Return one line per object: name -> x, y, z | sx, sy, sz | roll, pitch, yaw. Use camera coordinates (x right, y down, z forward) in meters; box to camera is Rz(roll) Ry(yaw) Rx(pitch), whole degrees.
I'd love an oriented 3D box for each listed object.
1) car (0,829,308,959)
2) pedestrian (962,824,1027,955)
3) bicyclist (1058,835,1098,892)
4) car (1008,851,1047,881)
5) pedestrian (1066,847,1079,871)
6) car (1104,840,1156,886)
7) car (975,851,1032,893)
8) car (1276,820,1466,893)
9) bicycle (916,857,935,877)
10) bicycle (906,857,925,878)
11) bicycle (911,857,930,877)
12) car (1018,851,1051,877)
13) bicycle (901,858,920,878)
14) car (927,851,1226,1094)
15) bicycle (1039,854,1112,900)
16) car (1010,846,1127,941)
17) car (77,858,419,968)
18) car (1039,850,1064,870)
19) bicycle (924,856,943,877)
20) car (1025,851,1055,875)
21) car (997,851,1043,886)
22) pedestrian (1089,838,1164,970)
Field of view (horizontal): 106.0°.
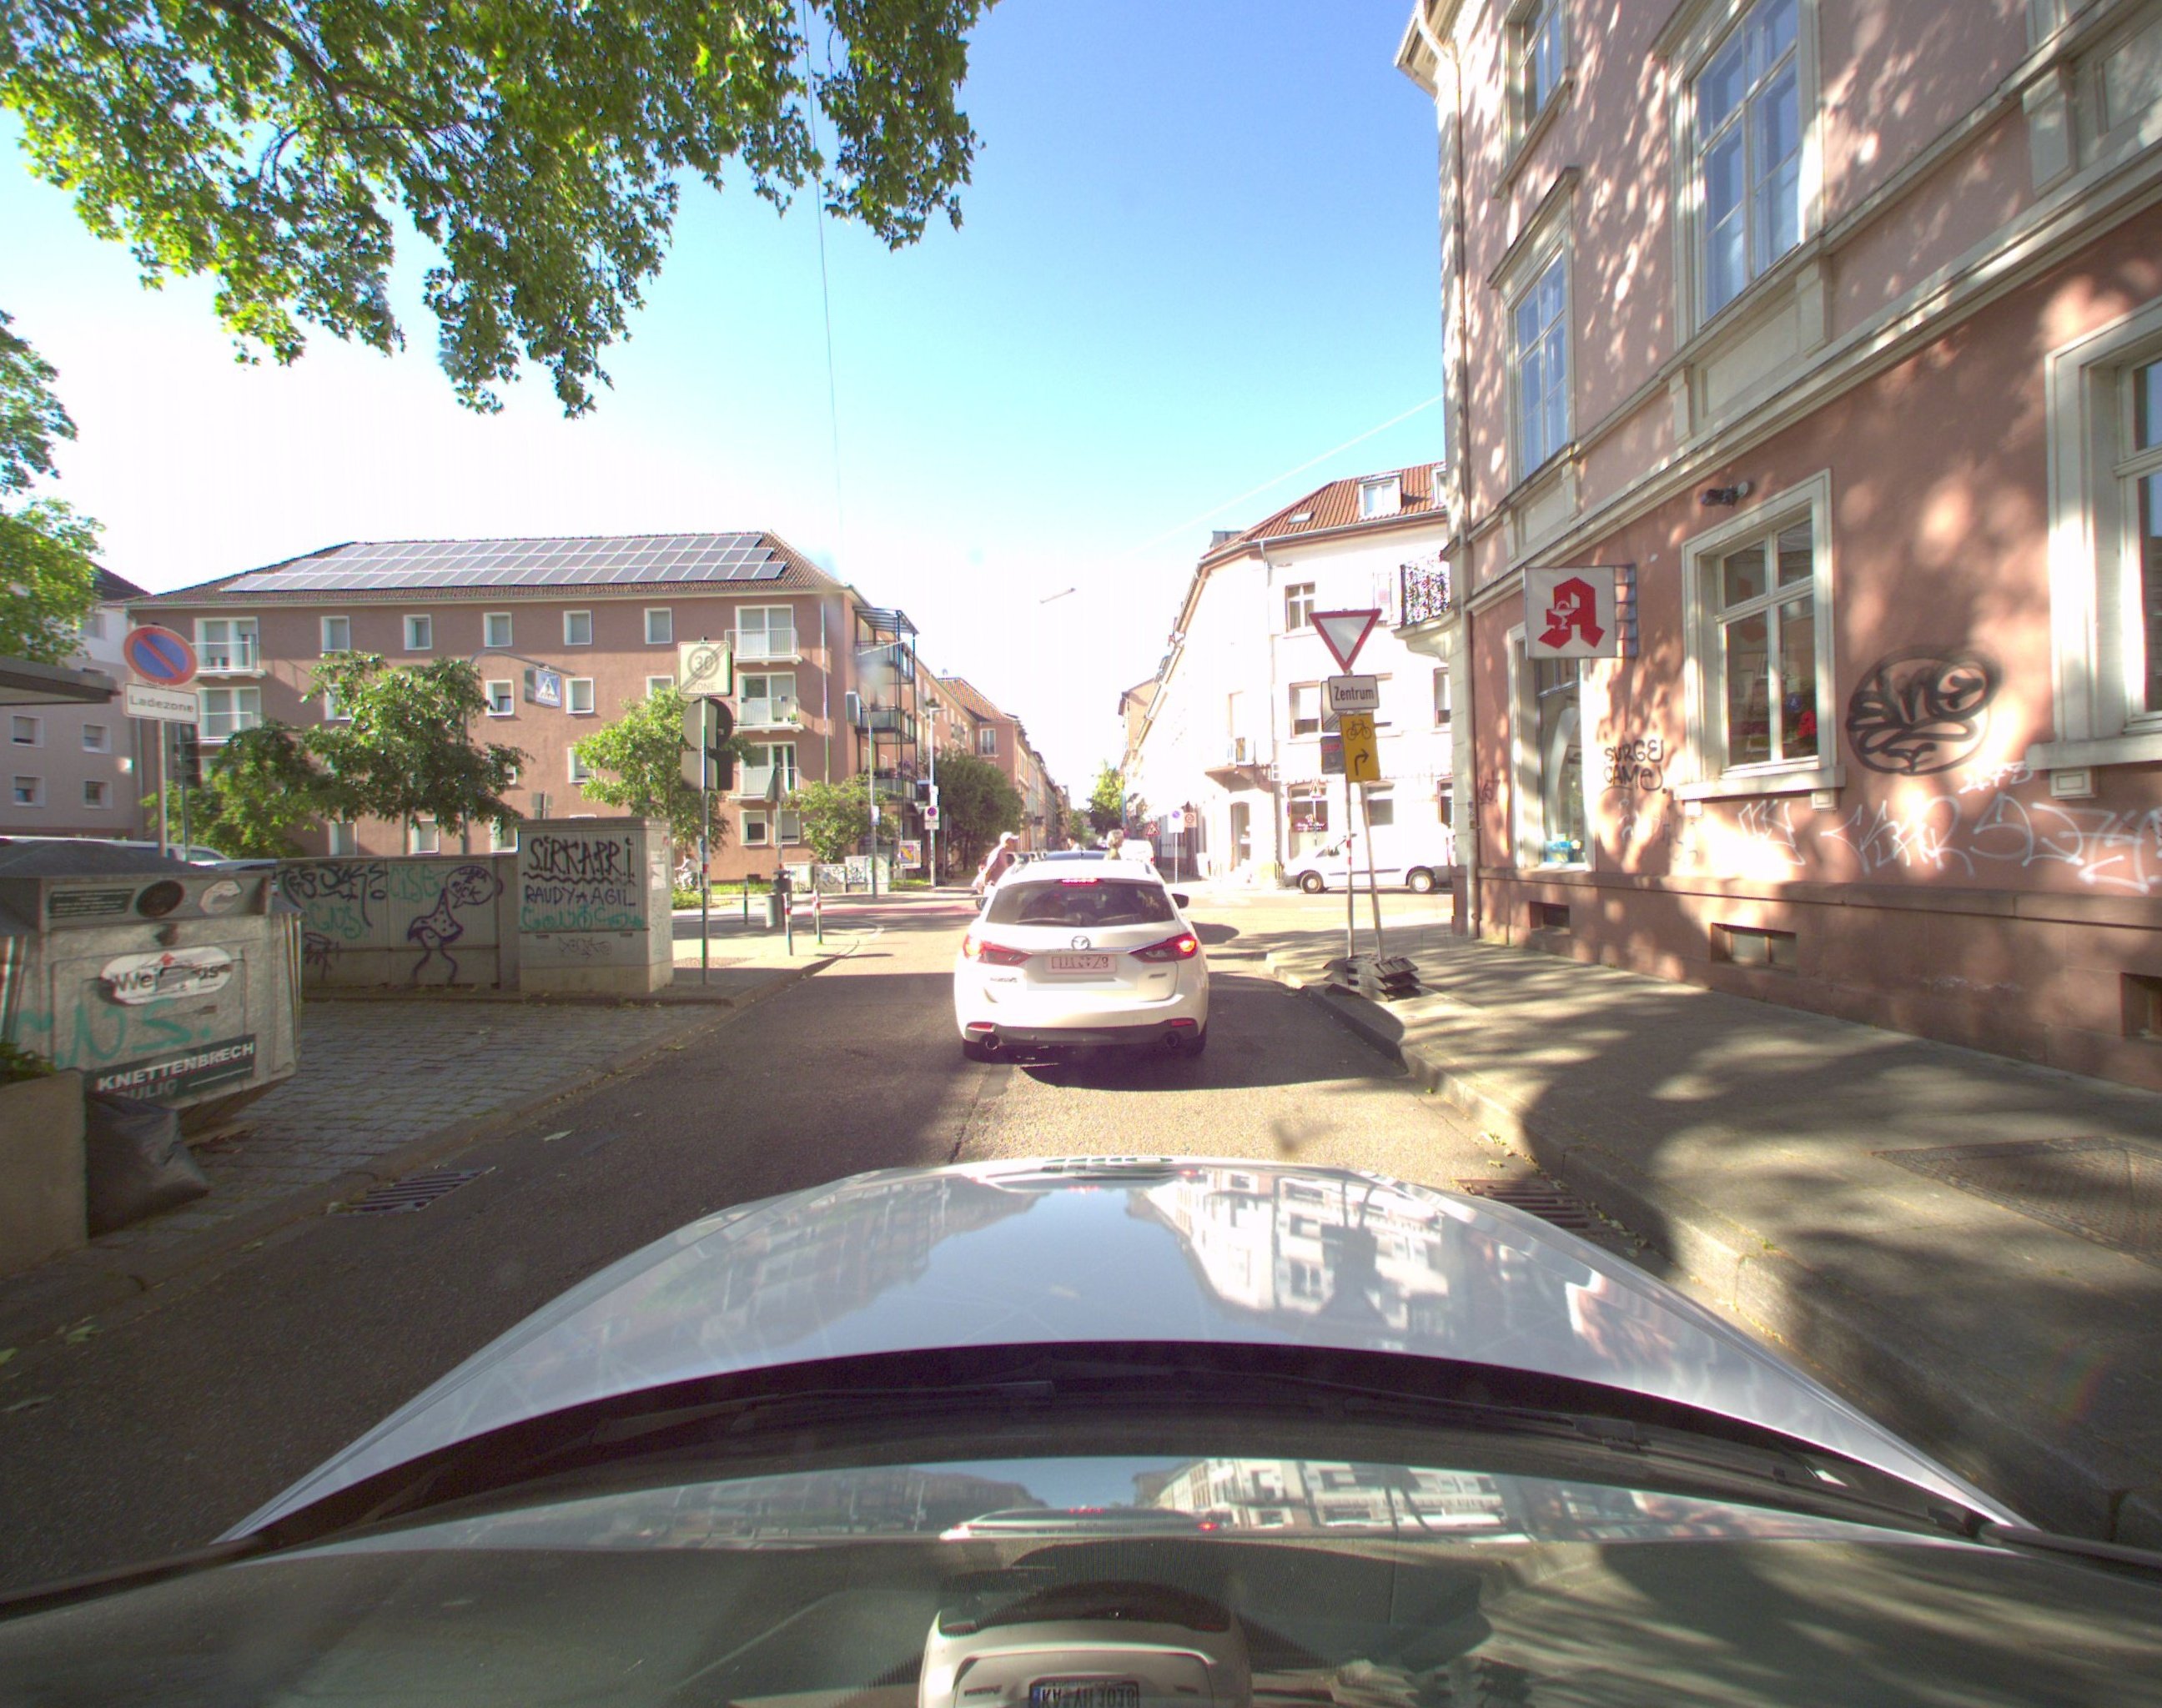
car -> -17.367, 0.683, 14.891 | 1.947, 2.006, 4.743 | -2, -1, -1
pedestrian -> -1.217, 0.488, 11.636 | 0.748, 1.764, 0.830 | 3, 0, -2
bicyclist -> -0.085, 0.250, 22.562 | 1.038, 1.519, 0.739 | -2, 0, 1
car -> -2.781, 0.591, 43.116 | 1.647, 1.500, 3.764 | -1, 0, 2
pedestrian -> -0.628, 0.354, 57.780 | 0.733, 1.614, 0.813 | -2, 0, -11
car -> 2.049, 0.339, 35.518 | 1.889, 1.859, 5.012 | 1, 0, -1
car -> -2.969, 0.640, 31.851 | 1.678, 1.500, 3.808 | -1, 0, 2
car -> 8.383, 0.097, 23.663 | 4.964, 1.946, 2.062 | -1, 0, 24
bicycle -> -8.376, 0.701, 43.803 | 1.201, 1.071, 0.255 | -1, 0, 40
bicycle -> -8.805, 0.726, 43.305 | 1.201, 1.072, 0.268 | -1, 0, 40
bicycle -> -8.578, 0.697, 43.561 | 1.201, 1.071, 0.255 | -1, 0, 40
car -> -2.842, 0.559, 49.974 | 1.647, 1.500, 3.764 | -1, 0, 2
bicycle -> -9.038, 0.739, 43.091 | 1.201, 1.035, 0.293 | -1, 0, 40
car -> 0.036, 0.733, 7.054 | 1.824, 1.457, 3.964 | -2, 0, 2
bicycle -> -0.140, 0.632, 22.565 | 1.940, 1.198, 0.630 | -2, 0, 1
car -> -0.119, 0.593, 14.578 | 1.754, 1.410, 4.330 | -1, 0, 2
car -> -14.757, 0.929, 14.867 | 1.747, 1.612, 4.304 | -2, 0, 0
car -> -2.292, 0.450, 64.417 | 1.647, 1.500, 3.764 | -1, 0, 2
bicycle -> -7.936, 0.679, 43.832 | 1.204, 1.071, 0.255 | -1, 0, 40
car -> -2.682, 0.560, 53.901 | 1.647, 1.500, 3.764 | -1, 0, 2
car -> -2.773, 0.617, 37.902 | 1.647, 1.500, 4.081 | -1, 0, 2
pedestrian -> 0.615, 0.661, 11.055 | 0.833, 1.666, 0.626 | -6, 0, 1
